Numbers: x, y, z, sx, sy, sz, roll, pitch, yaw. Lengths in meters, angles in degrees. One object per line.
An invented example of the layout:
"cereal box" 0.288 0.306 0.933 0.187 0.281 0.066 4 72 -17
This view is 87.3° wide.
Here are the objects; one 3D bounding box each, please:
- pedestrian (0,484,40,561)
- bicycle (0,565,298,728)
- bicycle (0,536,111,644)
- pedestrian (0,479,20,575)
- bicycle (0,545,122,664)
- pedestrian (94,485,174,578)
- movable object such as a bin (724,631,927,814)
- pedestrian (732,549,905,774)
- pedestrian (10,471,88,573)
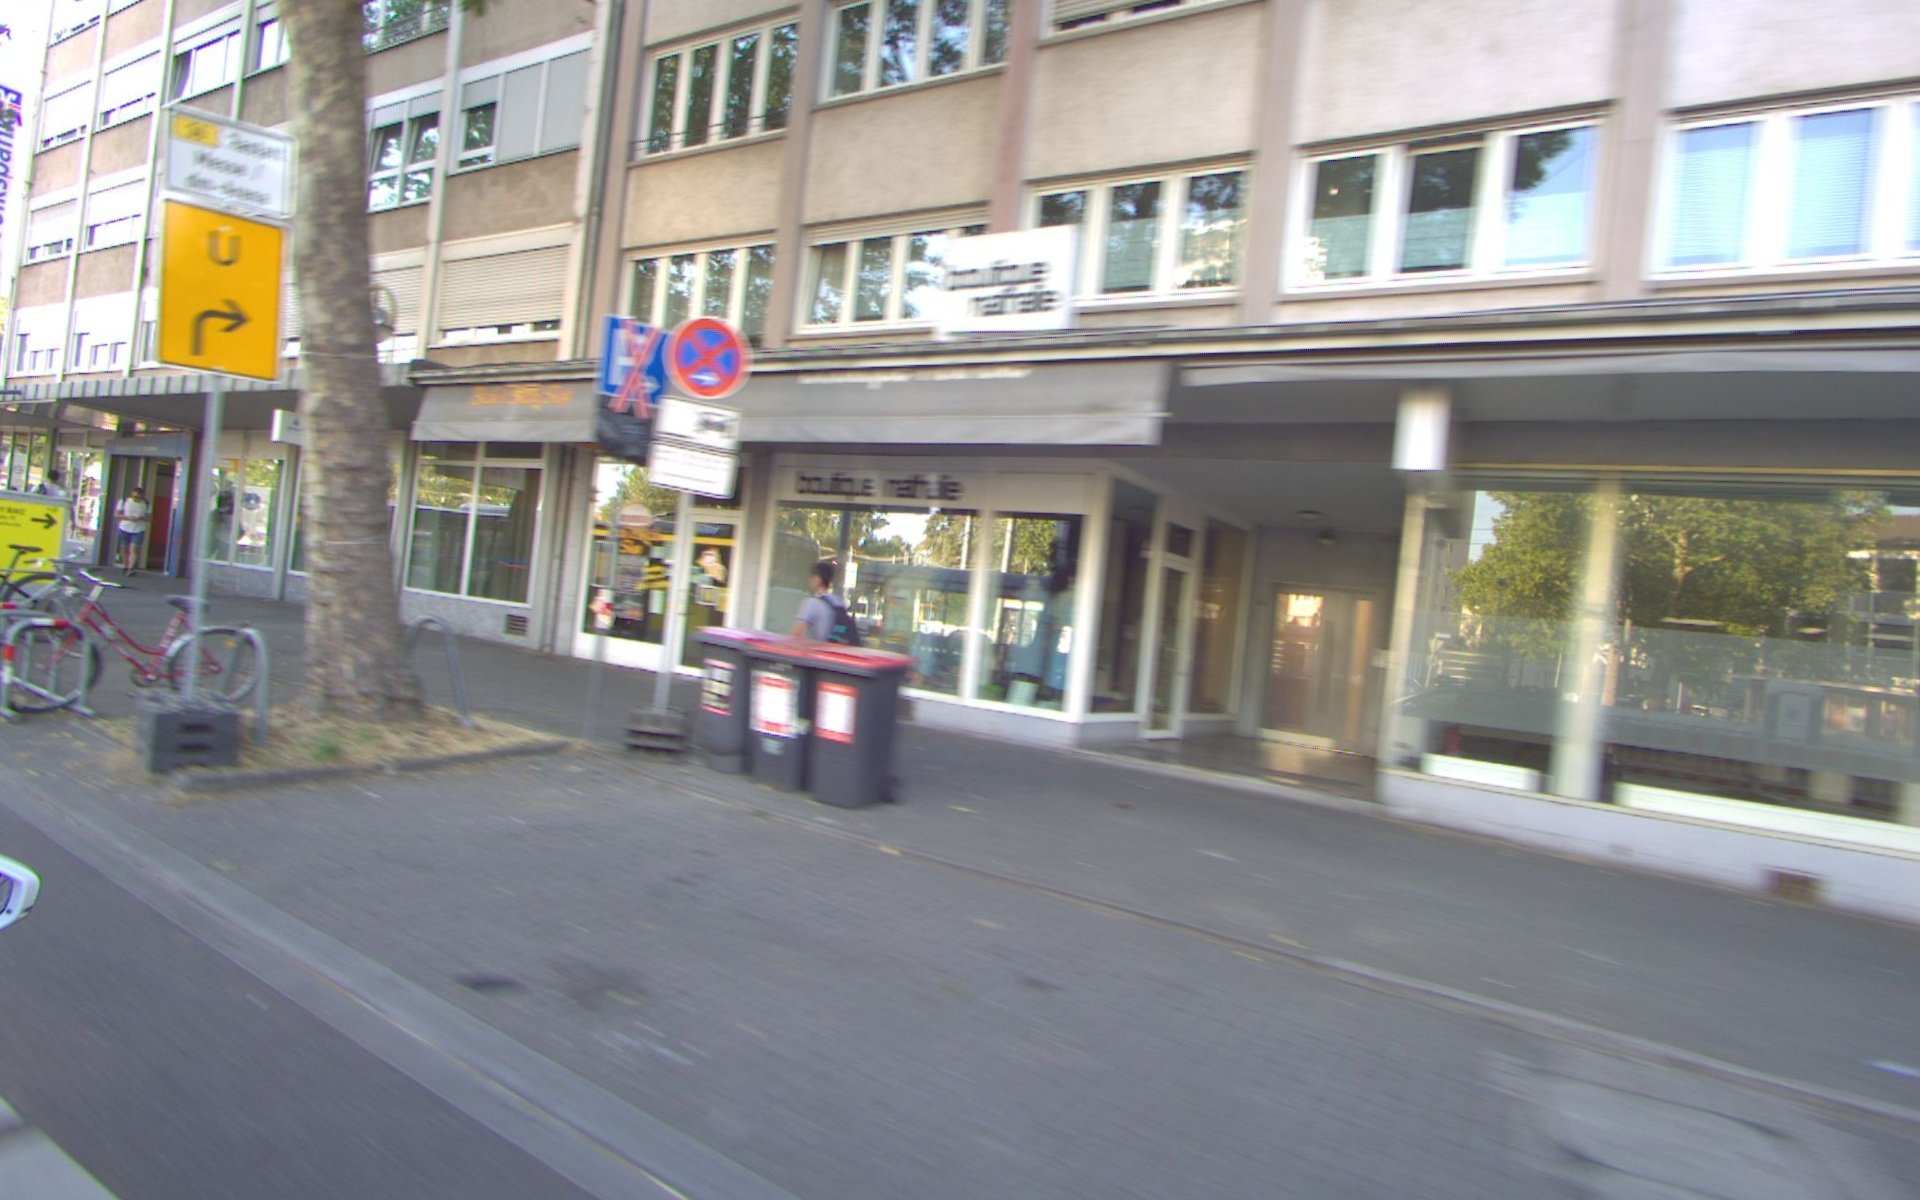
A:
"pedestrian" -20.717 -1.709 21.998 0.761 1.594 0.633 7 3 30
"bicycle" -6.119 0.341 7.534 0.633 1.035 1.792 7 0 27
"bicycle" -10.136 -0.134 10.327 0.757 1.071 1.990 6 0 27
"pedestrian" -18.007 -1.391 18.383 1.052 1.733 0.899 7 3 30
"bicycle" -9.075 0.024 9.426 0.633 1.071 1.715 7 1 31
"pedestrian" -16.122 -1.329 19.637 1.052 1.721 0.898 7 5 30
"movable object such as a bin" -0.973 0.831 7.236 1.207 1.089 0.674 6 2 30
"pedestrian" -1.178 0.491 8.436 0.973 1.695 0.844 7 1 30
"pedestrian" -18.069 -1.537 19.953 1.081 1.896 0.837 7 4 30
